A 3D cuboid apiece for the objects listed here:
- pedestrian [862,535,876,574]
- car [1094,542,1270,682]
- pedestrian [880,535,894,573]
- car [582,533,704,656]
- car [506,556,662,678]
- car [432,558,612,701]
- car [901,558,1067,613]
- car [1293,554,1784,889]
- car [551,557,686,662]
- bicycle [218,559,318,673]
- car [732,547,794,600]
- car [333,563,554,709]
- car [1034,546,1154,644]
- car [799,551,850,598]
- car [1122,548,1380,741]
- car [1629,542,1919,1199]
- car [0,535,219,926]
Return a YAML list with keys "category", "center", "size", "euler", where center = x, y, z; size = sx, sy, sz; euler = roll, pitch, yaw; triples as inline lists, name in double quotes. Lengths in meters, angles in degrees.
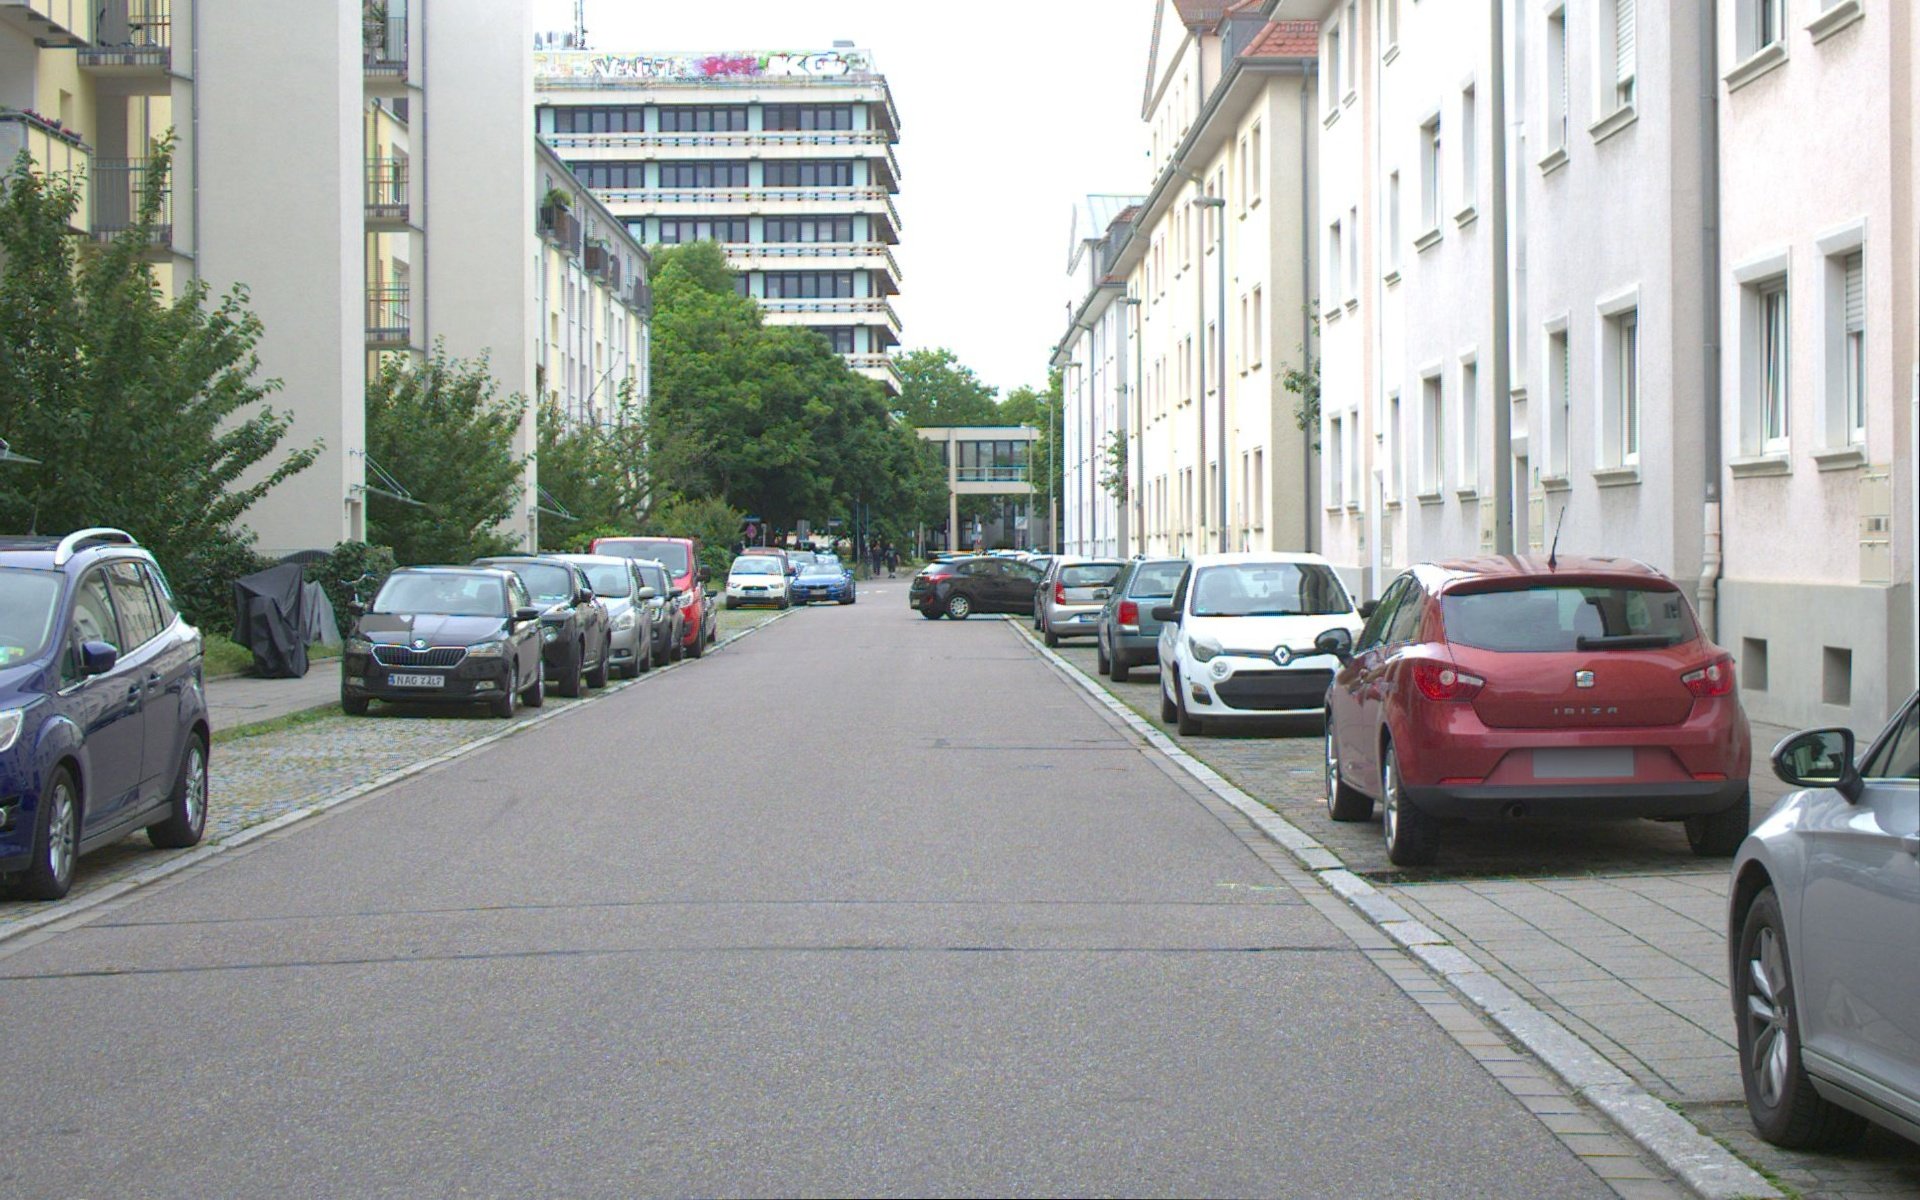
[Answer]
- category: "pedestrian"
  center: [-4.710, -2.353, 178.541]
  size: [0.629, 2.007, 0.683]
  euler: [2, 1, -1]
- category: "car"
  center: [2.609, 0.105, 41.111]
  size: [1.819, 1.571, 3.752]
  euler: [0, 1, 0]
- category: "pedestrian"
  center: [-3.826, -2.418, 180.367]
  size: [0.629, 2.007, 0.683]
  euler: [2, 1, -1]
- category: "car"
  center: [-5.190, -0.123, 56.631]
  size: [1.671, 1.931, 3.742]
  euler: [0, 1, 0]
- category: "car"
  center: [-5.025, 0.193, 46.378]
  size: [1.671, 1.520, 4.253]
  euler: [0, 1, 0]
- category: "car"
  center: [-5.099, 0.311, 40.399]
  size: [1.671, 1.558, 3.664]
  euler: [0, 1, 0]
- category: "car"
  center: [0.551, -0.335, 78.021]
  size: [3.729, 1.210, 1.544]
  euler: [0, 1, 1]
- category: "car"
  center: [2.775, 0.514, 17.338]
  size: [1.670, 1.415, 4.000]
  euler: [-2, 1, -1]
- category: "car"
  center: [-5.083, 0.113, 51.529]
  size: [1.671, 1.482, 3.742]
  euler: [0, 1, 0]
- category: "bicycle"
  center: [-8.086, 0.172, 40.236]
  size: [0.871, 1.284, 1.893]
  euler: [0, 1, -3]
- category: "car"
  center: [-5.565, -0.752, 97.369]
  size: [1.539, 1.445, 3.742]
  euler: [0, 1, 0]
- category: "car"
  center: [-5.144, 0.323, 34.653]
  size: [1.671, 1.347, 3.817]
  euler: [0, 1, 0]
- category: "car"
  center: [2.224, -0.108, 57.748]
  size: [1.819, 1.571, 3.884]
  euler: [0, 1, 0]
- category: "car"
  center: [-4.286, -0.802, 108.218]
  size: [1.539, 1.445, 3.742]
  euler: [0, 1, -3]
- category: "car"
  center: [2.384, 0.322, 29.030]
  size: [1.819, 1.499, 3.752]
  euler: [0, 1, 0]
- category: "car"
  center: [2.723, 0.630, 6.815]
  size: [1.755, 1.462, 4.601]
  euler: [0, 1, -2]
- category: "car"
  center: [-4.868, 0.509, 16.643]
  size: [1.769, 1.637, 4.355]
  euler: [0, 1, -2]
